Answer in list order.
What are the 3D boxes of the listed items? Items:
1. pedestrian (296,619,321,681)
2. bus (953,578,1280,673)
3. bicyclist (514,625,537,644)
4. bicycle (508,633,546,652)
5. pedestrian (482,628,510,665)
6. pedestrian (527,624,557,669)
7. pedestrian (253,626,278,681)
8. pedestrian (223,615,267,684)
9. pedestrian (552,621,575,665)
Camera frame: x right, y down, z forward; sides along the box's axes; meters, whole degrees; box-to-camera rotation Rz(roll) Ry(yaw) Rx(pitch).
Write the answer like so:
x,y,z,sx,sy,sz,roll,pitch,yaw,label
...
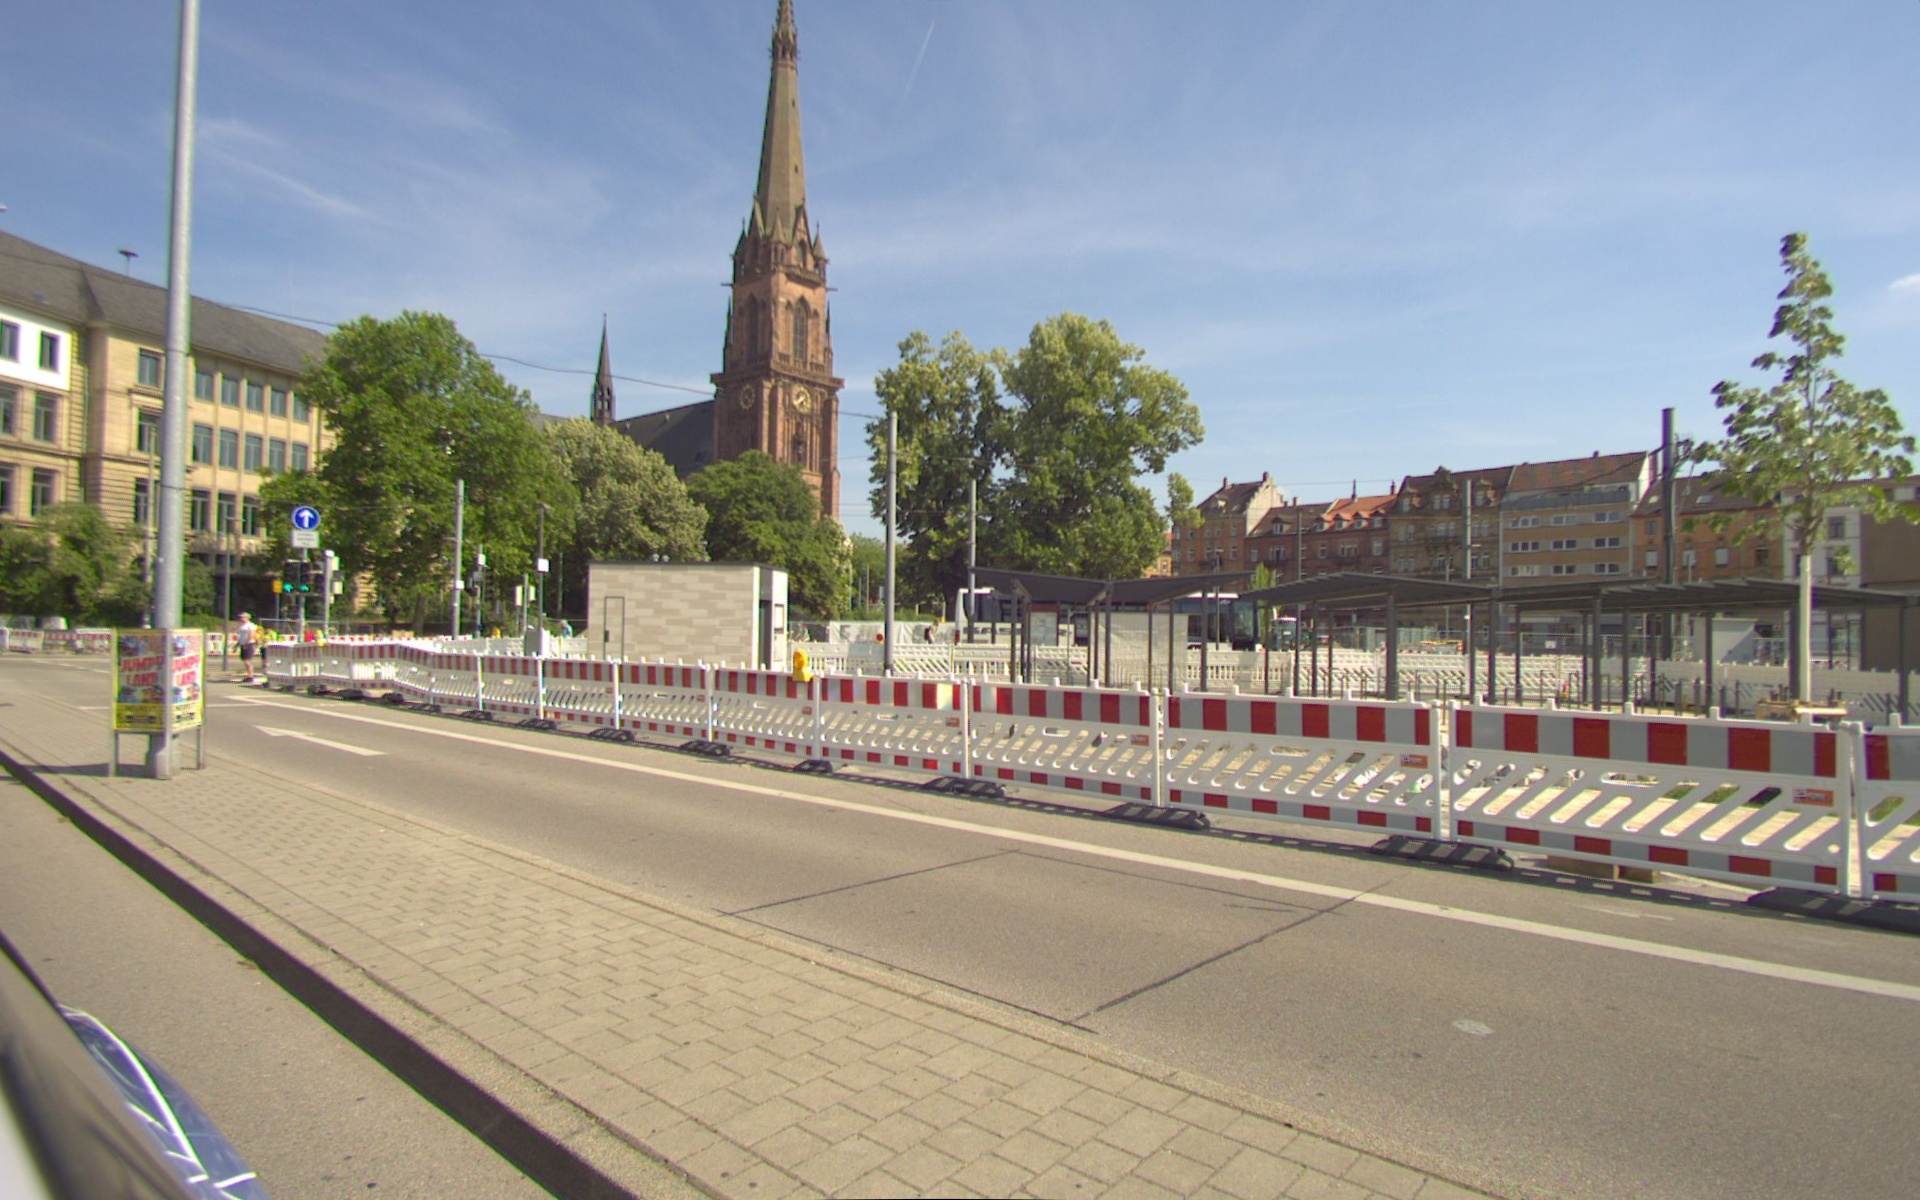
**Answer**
x,y,z,sx,sy,sz,roll,pitch,yaw,label
-17.217,1.319,26.729,0.686,1.628,0.346,-1,-3,42,pedestrian
6.076,1.000,40.512,12.504,3.516,2.856,0,-2,7,bus
-21.907,1.729,51.056,0.858,0.934,0.682,1,-2,2,bicyclist
-21.830,2.145,51.028,1.643,0.954,0.701,1,-2,2,bicycle
-21.089,2.120,45.986,0.926,1.668,0.845,2,-3,-41,pedestrian
-15.198,1.680,36.772,0.792,1.628,0.654,-1,-2,34,pedestrian
-20.307,1.559,29.592,0.668,1.555,0.417,-1,0,43,pedestrian
-19.288,1.334,27.320,0.827,1.826,0.652,1,-2,-23,pedestrian
-14.709,1.594,37.569,0.577,1.628,0.690,0,-2,-3,pedestrian
